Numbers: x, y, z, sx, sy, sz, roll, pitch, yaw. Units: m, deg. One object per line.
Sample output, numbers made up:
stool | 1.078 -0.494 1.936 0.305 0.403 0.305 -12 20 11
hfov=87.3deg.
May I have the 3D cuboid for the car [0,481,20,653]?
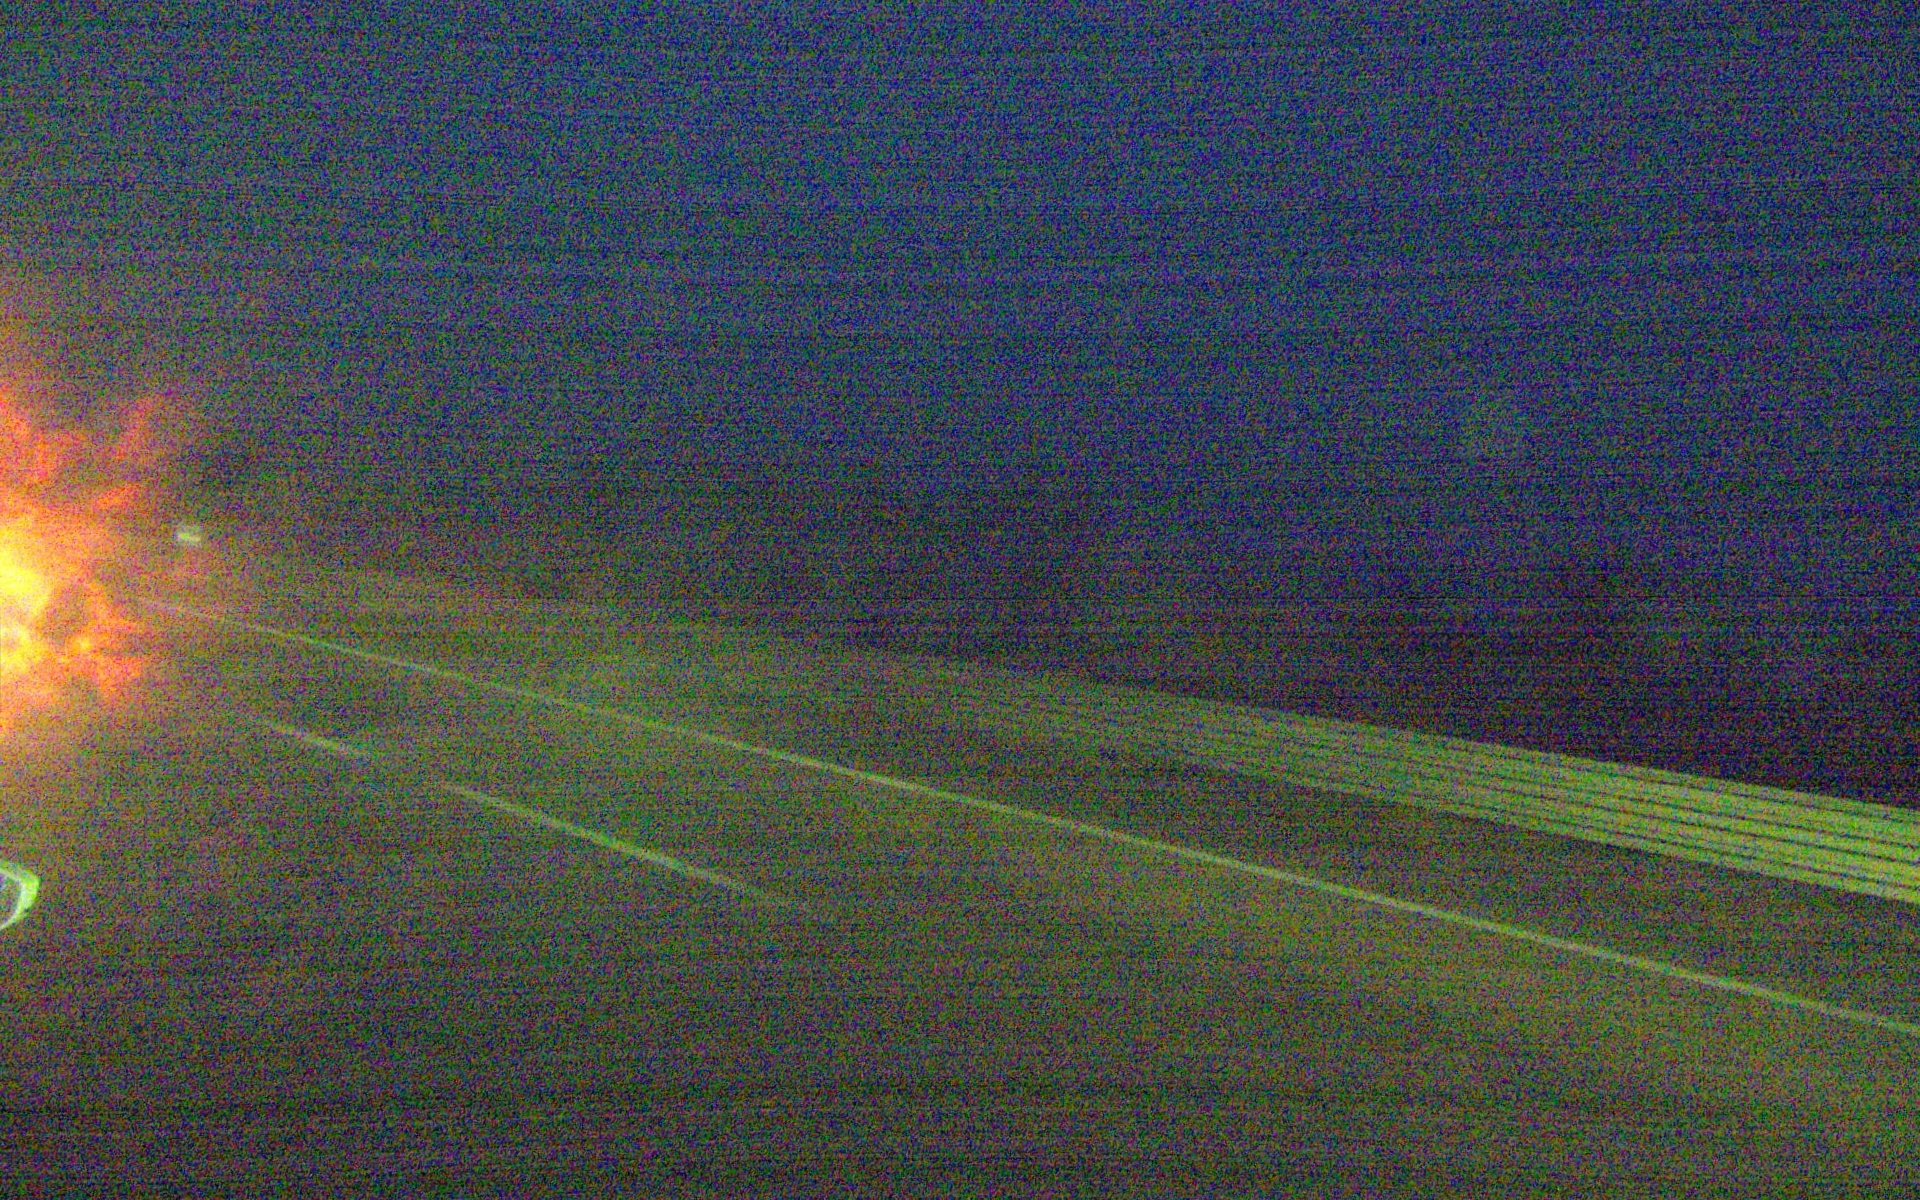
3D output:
car | -11.194 -0.533 9.841 4.420 1.594 1.743 5 -1 32
